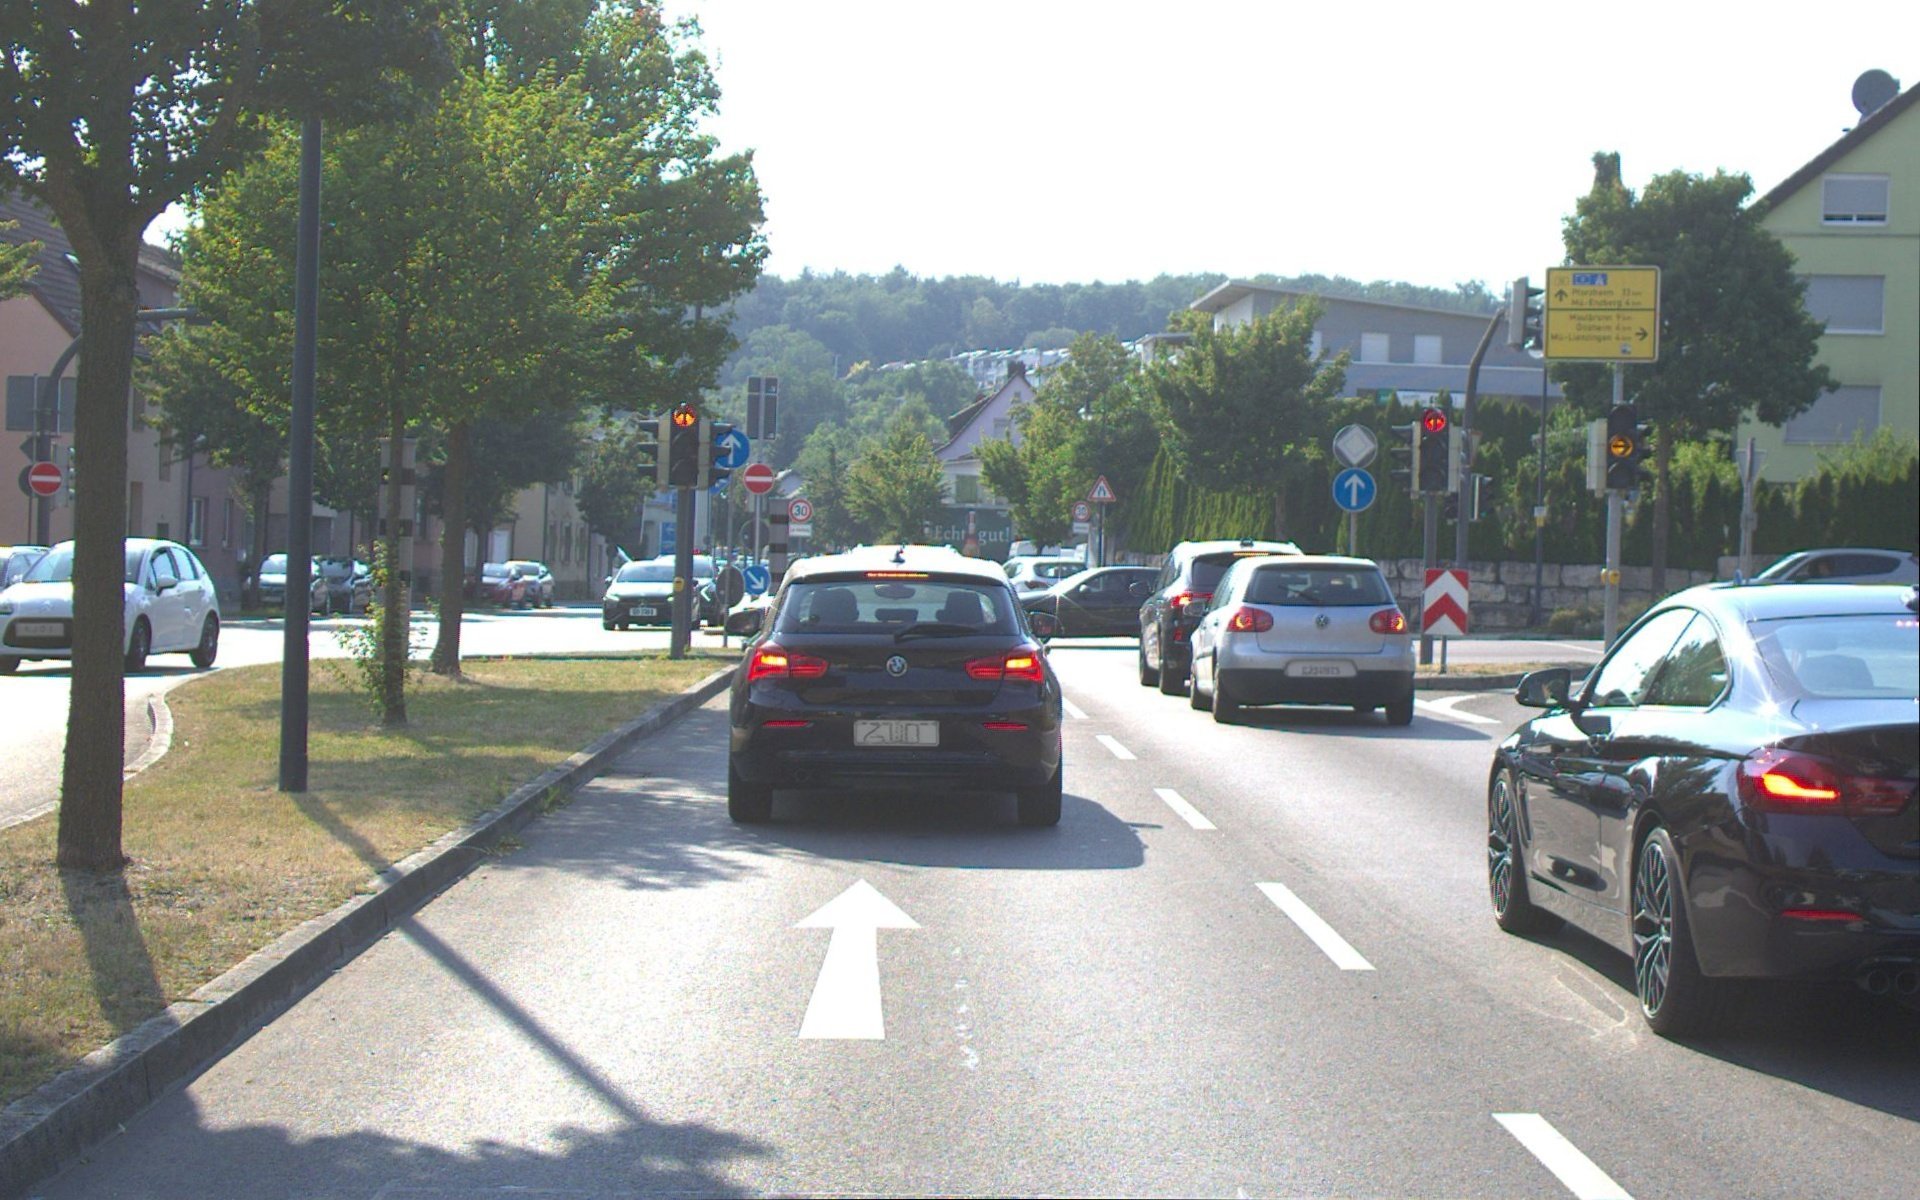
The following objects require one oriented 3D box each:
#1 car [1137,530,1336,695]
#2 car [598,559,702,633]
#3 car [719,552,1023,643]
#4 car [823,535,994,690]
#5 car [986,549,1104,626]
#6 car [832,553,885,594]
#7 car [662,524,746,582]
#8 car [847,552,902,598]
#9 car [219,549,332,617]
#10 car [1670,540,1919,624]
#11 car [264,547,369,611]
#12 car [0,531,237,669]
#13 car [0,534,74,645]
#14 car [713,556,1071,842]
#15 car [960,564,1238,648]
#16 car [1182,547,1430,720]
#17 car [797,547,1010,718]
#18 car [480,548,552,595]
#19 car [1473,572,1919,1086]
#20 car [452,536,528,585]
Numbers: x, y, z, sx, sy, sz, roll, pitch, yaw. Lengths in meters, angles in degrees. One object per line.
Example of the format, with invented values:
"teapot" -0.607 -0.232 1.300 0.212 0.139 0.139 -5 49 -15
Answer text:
"car" 2.953 0.096 37.532 1.816 1.660 4.347 1 1 0
"car" -6.464 -0.106 72.006 1.766 1.453 4.000 1 1 1
"car" -1.416 -0.040 54.632 4.462 1.345 1.786 1 1 -22
"car" -0.546 0.104 39.066 1.816 1.635 4.242 1 1 0
"car" 1.895 -0.311 78.308 1.890 1.696 4.525 0 1 -9
"car" -4.078 -1.076 138.495 1.924 1.590 4.000 1 1 1
"car" -6.233 -1.145 84.140 1.693 1.348 4.000 1 1 1
"car" -3.083 -0.908 124.402 1.924 1.590 4.000 1 1 -1
"car" -16.765 -0.428 84.404 1.924 1.590 4.000 1 1 1
"car" 16.035 -0.345 65.311 4.643 1.480 1.868 1 1 -4
"car" -16.747 -0.567 89.648 1.924 1.590 4.000 1 1 1
"car" -9.904 -0.029 39.693 1.802 1.492 3.954 1 1 8
"car" -13.536 -0.170 46.655 1.686 1.457 4.711 1 1 1
"car" -0.333 0.472 19.578 1.790 1.410 4.347 1 1 0
"car" 2.510 0.115 61.970 4.627 1.417 1.850 1 1 -21
"car" 3.074 0.251 31.299 1.816 1.441 4.347 1 1 0
"car" -0.474 0.251 31.745 1.816 1.446 4.242 1 1 0
"car" -15.477 -1.014 119.970 1.924 1.590 4.000 1 1 1
"car" 2.978 0.626 11.682 1.816 1.384 4.347 1 1 0
"car" -15.627 -1.318 114.461 1.924 1.590 4.000 1 1 1
